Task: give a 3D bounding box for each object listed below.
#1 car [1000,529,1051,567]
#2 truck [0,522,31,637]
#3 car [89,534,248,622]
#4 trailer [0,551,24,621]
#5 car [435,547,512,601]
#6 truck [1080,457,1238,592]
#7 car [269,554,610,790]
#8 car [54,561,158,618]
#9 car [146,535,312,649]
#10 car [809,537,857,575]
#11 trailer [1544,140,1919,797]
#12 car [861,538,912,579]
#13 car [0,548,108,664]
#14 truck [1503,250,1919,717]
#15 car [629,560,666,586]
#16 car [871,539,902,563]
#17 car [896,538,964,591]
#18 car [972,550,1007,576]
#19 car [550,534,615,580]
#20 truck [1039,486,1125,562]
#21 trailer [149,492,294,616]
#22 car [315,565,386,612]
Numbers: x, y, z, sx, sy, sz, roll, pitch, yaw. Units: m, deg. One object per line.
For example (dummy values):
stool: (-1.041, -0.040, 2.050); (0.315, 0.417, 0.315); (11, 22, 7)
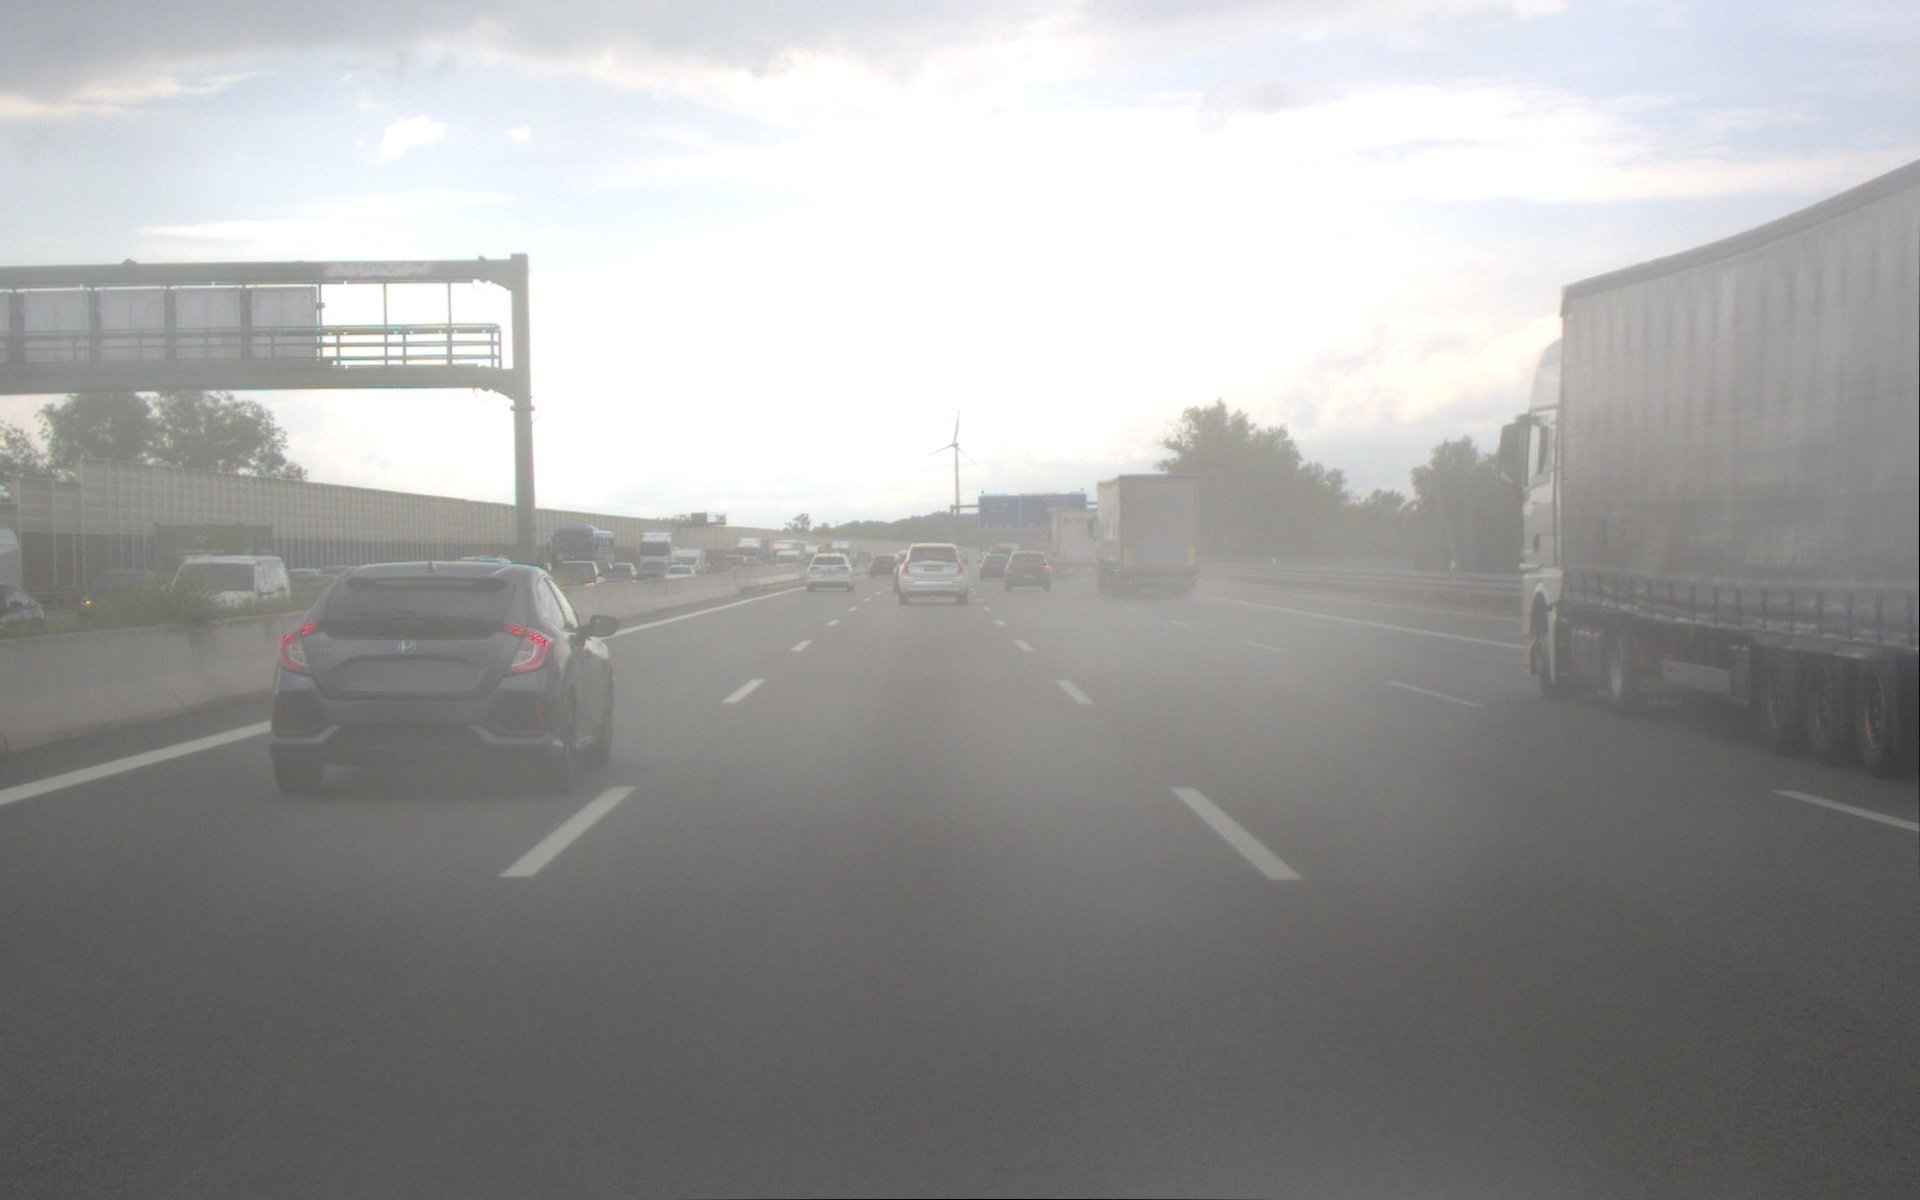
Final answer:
car: (2.555, -2.065, 135.444); (1.835, 1.436, 4.056); (0, 1, -1)
truck: (-22.651, -0.437, 76.324); (2.243, 2.595, 6.559); (-1, 1, 0)
car: (-19.257, -0.578, 83.946); (2.449, 2.044, 6.194); (-1, 1, 0)
trailer: (-26.639, -0.242, 84.658); (2.752, 1.822, 16.350); (-1, 1, 0)
car: (-15.831, -0.857, 112.085); (1.816, 1.703, 4.807); (-1, 1, 0)
truck: (6.595, -2.548, 116.400); (4.179, 4.273, 12.614); (1, 1, -2)
car: (-3.385, 0.401, 23.195); (1.760, 1.364, 5.061); (0, 1, -3)
car: (-23.084, -0.295, 93.036); (1.816, 1.490, 3.900); (-1, 1, 0)
car: (-14.976, -0.193, 70.764); (2.230, 2.229, 5.513); (-1, 1, 0)
car: (-4.858, -1.691, 131.342); (1.772, 1.436, 3.874); (0, 1, -2)
trailer: (7.282, -0.929, 26.641); (2.961, 4.006, 14.119); (0, 1, -1)
car: (-2.711, -1.540, 126.721); (1.772, 1.436, 4.056); (0, 1, -3)
car: (-17.936, 0.082, 65.077); (2.243, 2.106, 5.541); (-1, 1, 0)
truck: (7.241, -1.077, 32.915); (2.961, 4.006, 6.589); (0, 1, -1)
car: (-19.085, -1.649, 210.226); (1.747, 1.520, 4.927); (-1, 1, 0)
car: (-4.510, -2.994, 210.759); (1.772, 1.436, 4.056); (0, 1, -3)
car: (-0.881, -1.035, 98.428); (1.772, 1.436, 4.056); (0, 1, -3)
car: (1.646, -2.099, 193.423); (1.835, 1.436, 4.056); (0, 1, -1)
car: (-14.894, -1.709, 135.874); (1.880, 1.738, 5.110); (-1, 1, 2)
truck: (6.897, -4.307, 196.617); (4.243, 4.162, 11.990); (1, 1, -1)
trailer: (-19.287, -1.220, 90.067); (2.449, 3.128, 6.051); (-1, 1, 0)
car: (-22.409, -0.431, 126.518); (1.821, 1.625, 4.526); (-1, 1, -1)
